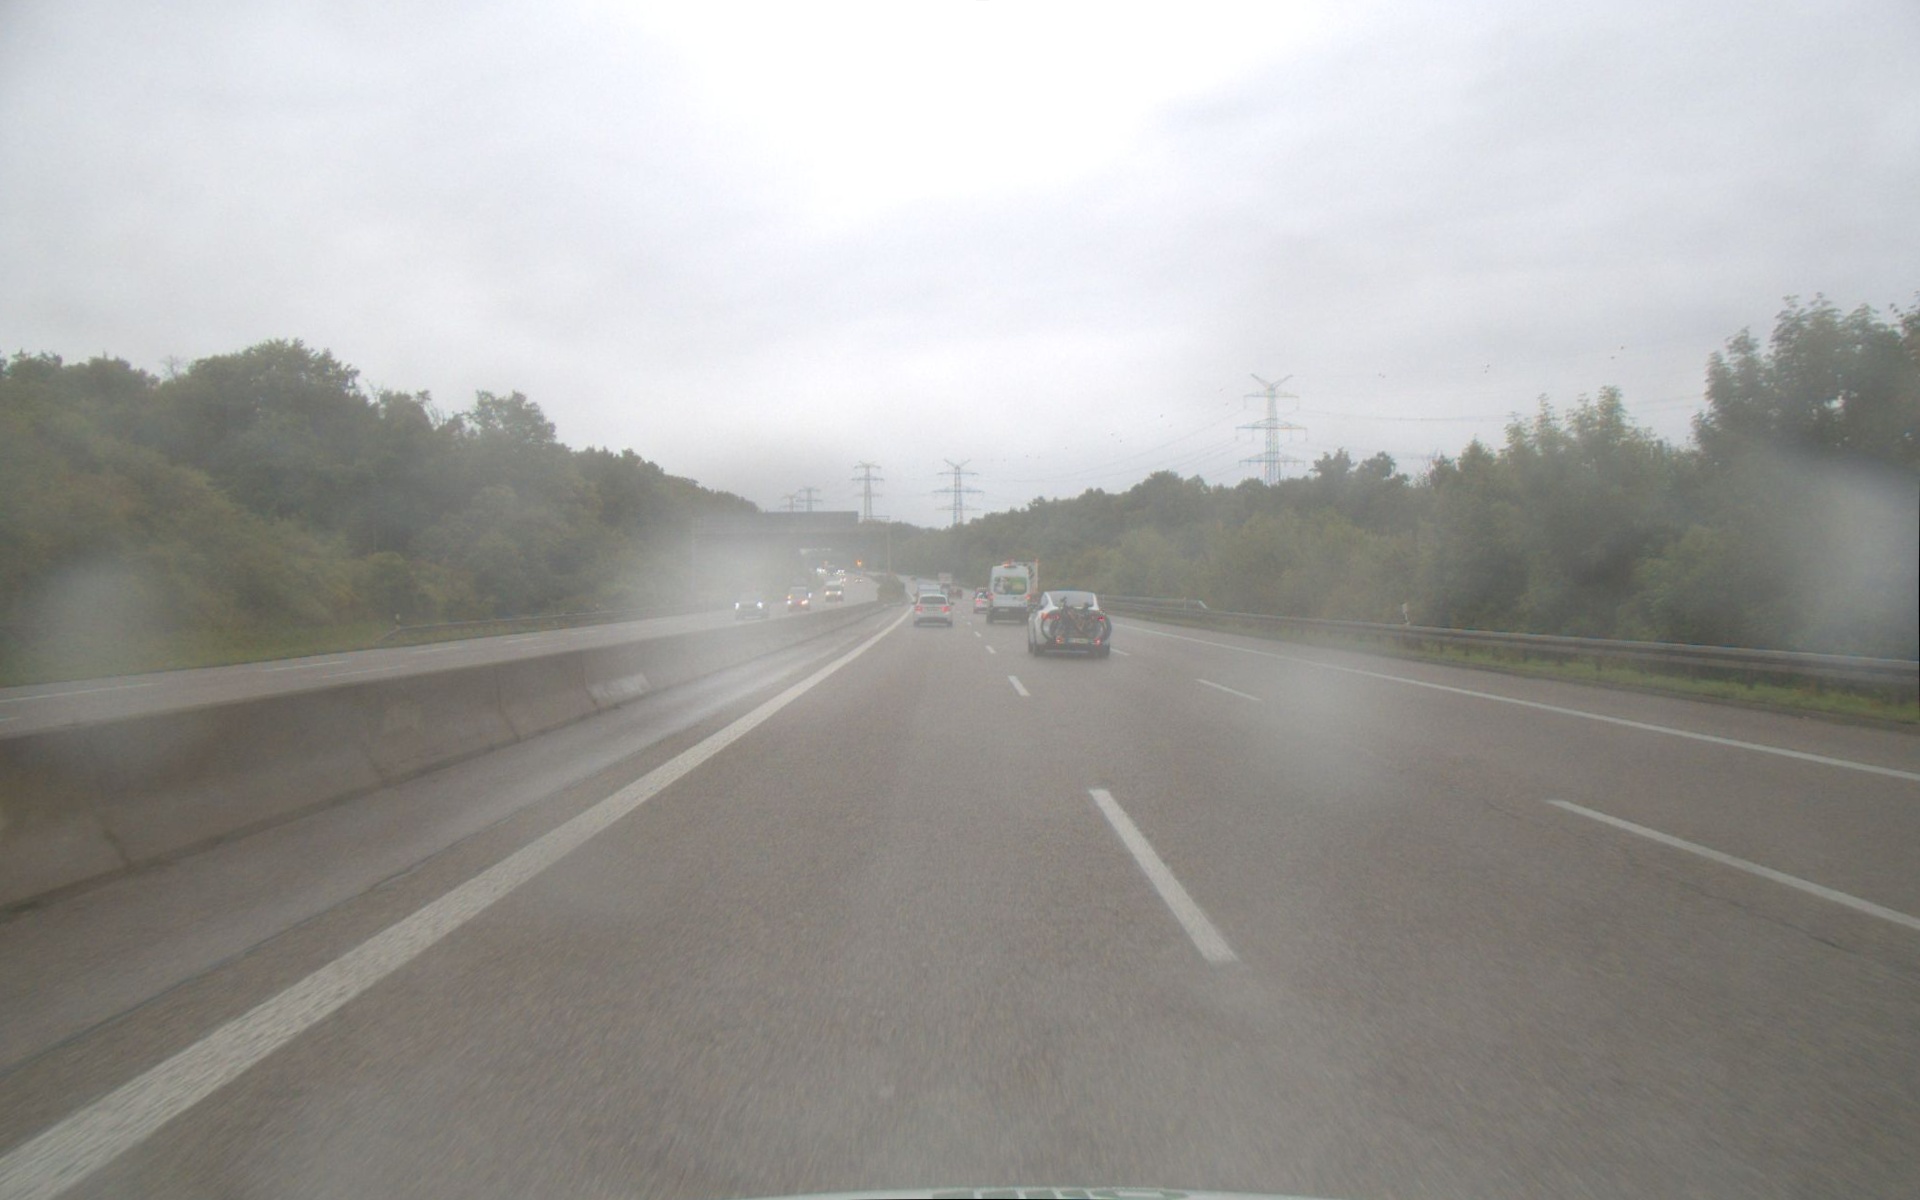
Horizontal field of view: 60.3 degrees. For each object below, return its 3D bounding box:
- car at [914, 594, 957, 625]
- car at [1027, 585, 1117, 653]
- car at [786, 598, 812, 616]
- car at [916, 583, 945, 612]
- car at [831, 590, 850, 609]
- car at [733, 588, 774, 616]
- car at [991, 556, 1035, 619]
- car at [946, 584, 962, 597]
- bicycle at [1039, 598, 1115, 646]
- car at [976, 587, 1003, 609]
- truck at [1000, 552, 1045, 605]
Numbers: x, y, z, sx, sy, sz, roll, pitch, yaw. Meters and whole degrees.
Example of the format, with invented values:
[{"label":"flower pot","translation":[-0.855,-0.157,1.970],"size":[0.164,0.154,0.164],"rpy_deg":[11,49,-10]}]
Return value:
[{"label":"car","translation":[-1.118,0.407,73.998],"size":[1.829,1.310,3.999],"rpy_deg":[-1,0,-1]},{"label":"car","translation":[2.770,0.431,41.914],"size":[1.822,1.595,4.963],"rpy_deg":[1,1,-1]},{"label":"car","translation":[-13.294,0.543,136.790],"size":[1.601,1.436,4.367],"rpy_deg":[-1,0,0]},{"label":"car","translation":[-1.966,-0.159,109.732],"size":[1.809,1.803,3.999],"rpy_deg":[1,-1,-1]},{"label":"car","translation":[-14.913,-0.075,206.409],"size":[2.233,2.372,6.167],"rpy_deg":[-1,0,-6]},{"label":"car","translation":[-13.015,0.116,104.471],"size":[1.953,1.717,4.916],"rpy_deg":[-1,0,-1]},{"label":"car","translation":[2.590,-0.611,81.090],"size":[1.953,2.914,4.000],"rpy_deg":[-2,0,0]},{"label":"car","translation":[-0.761,-1.167,212.778],"size":[1.953,1.601,3.999],"rpy_deg":[-1,0,-1]},{"label":"bicycle","translation":[2.753,0.519,38.970],"size":[1.718,1.109,0.913],"rpy_deg":[0,-1,-2]},{"label":"car","translation":[2.031,-0.125,114.914],"size":[1.819,1.447,4.000],"rpy_deg":[0,1,-1]},{"label":"truck","translation":[5.395,-1.855,145.199],"size":[3.529,4.407,13.200],"rpy_deg":[0,1,0]}]
